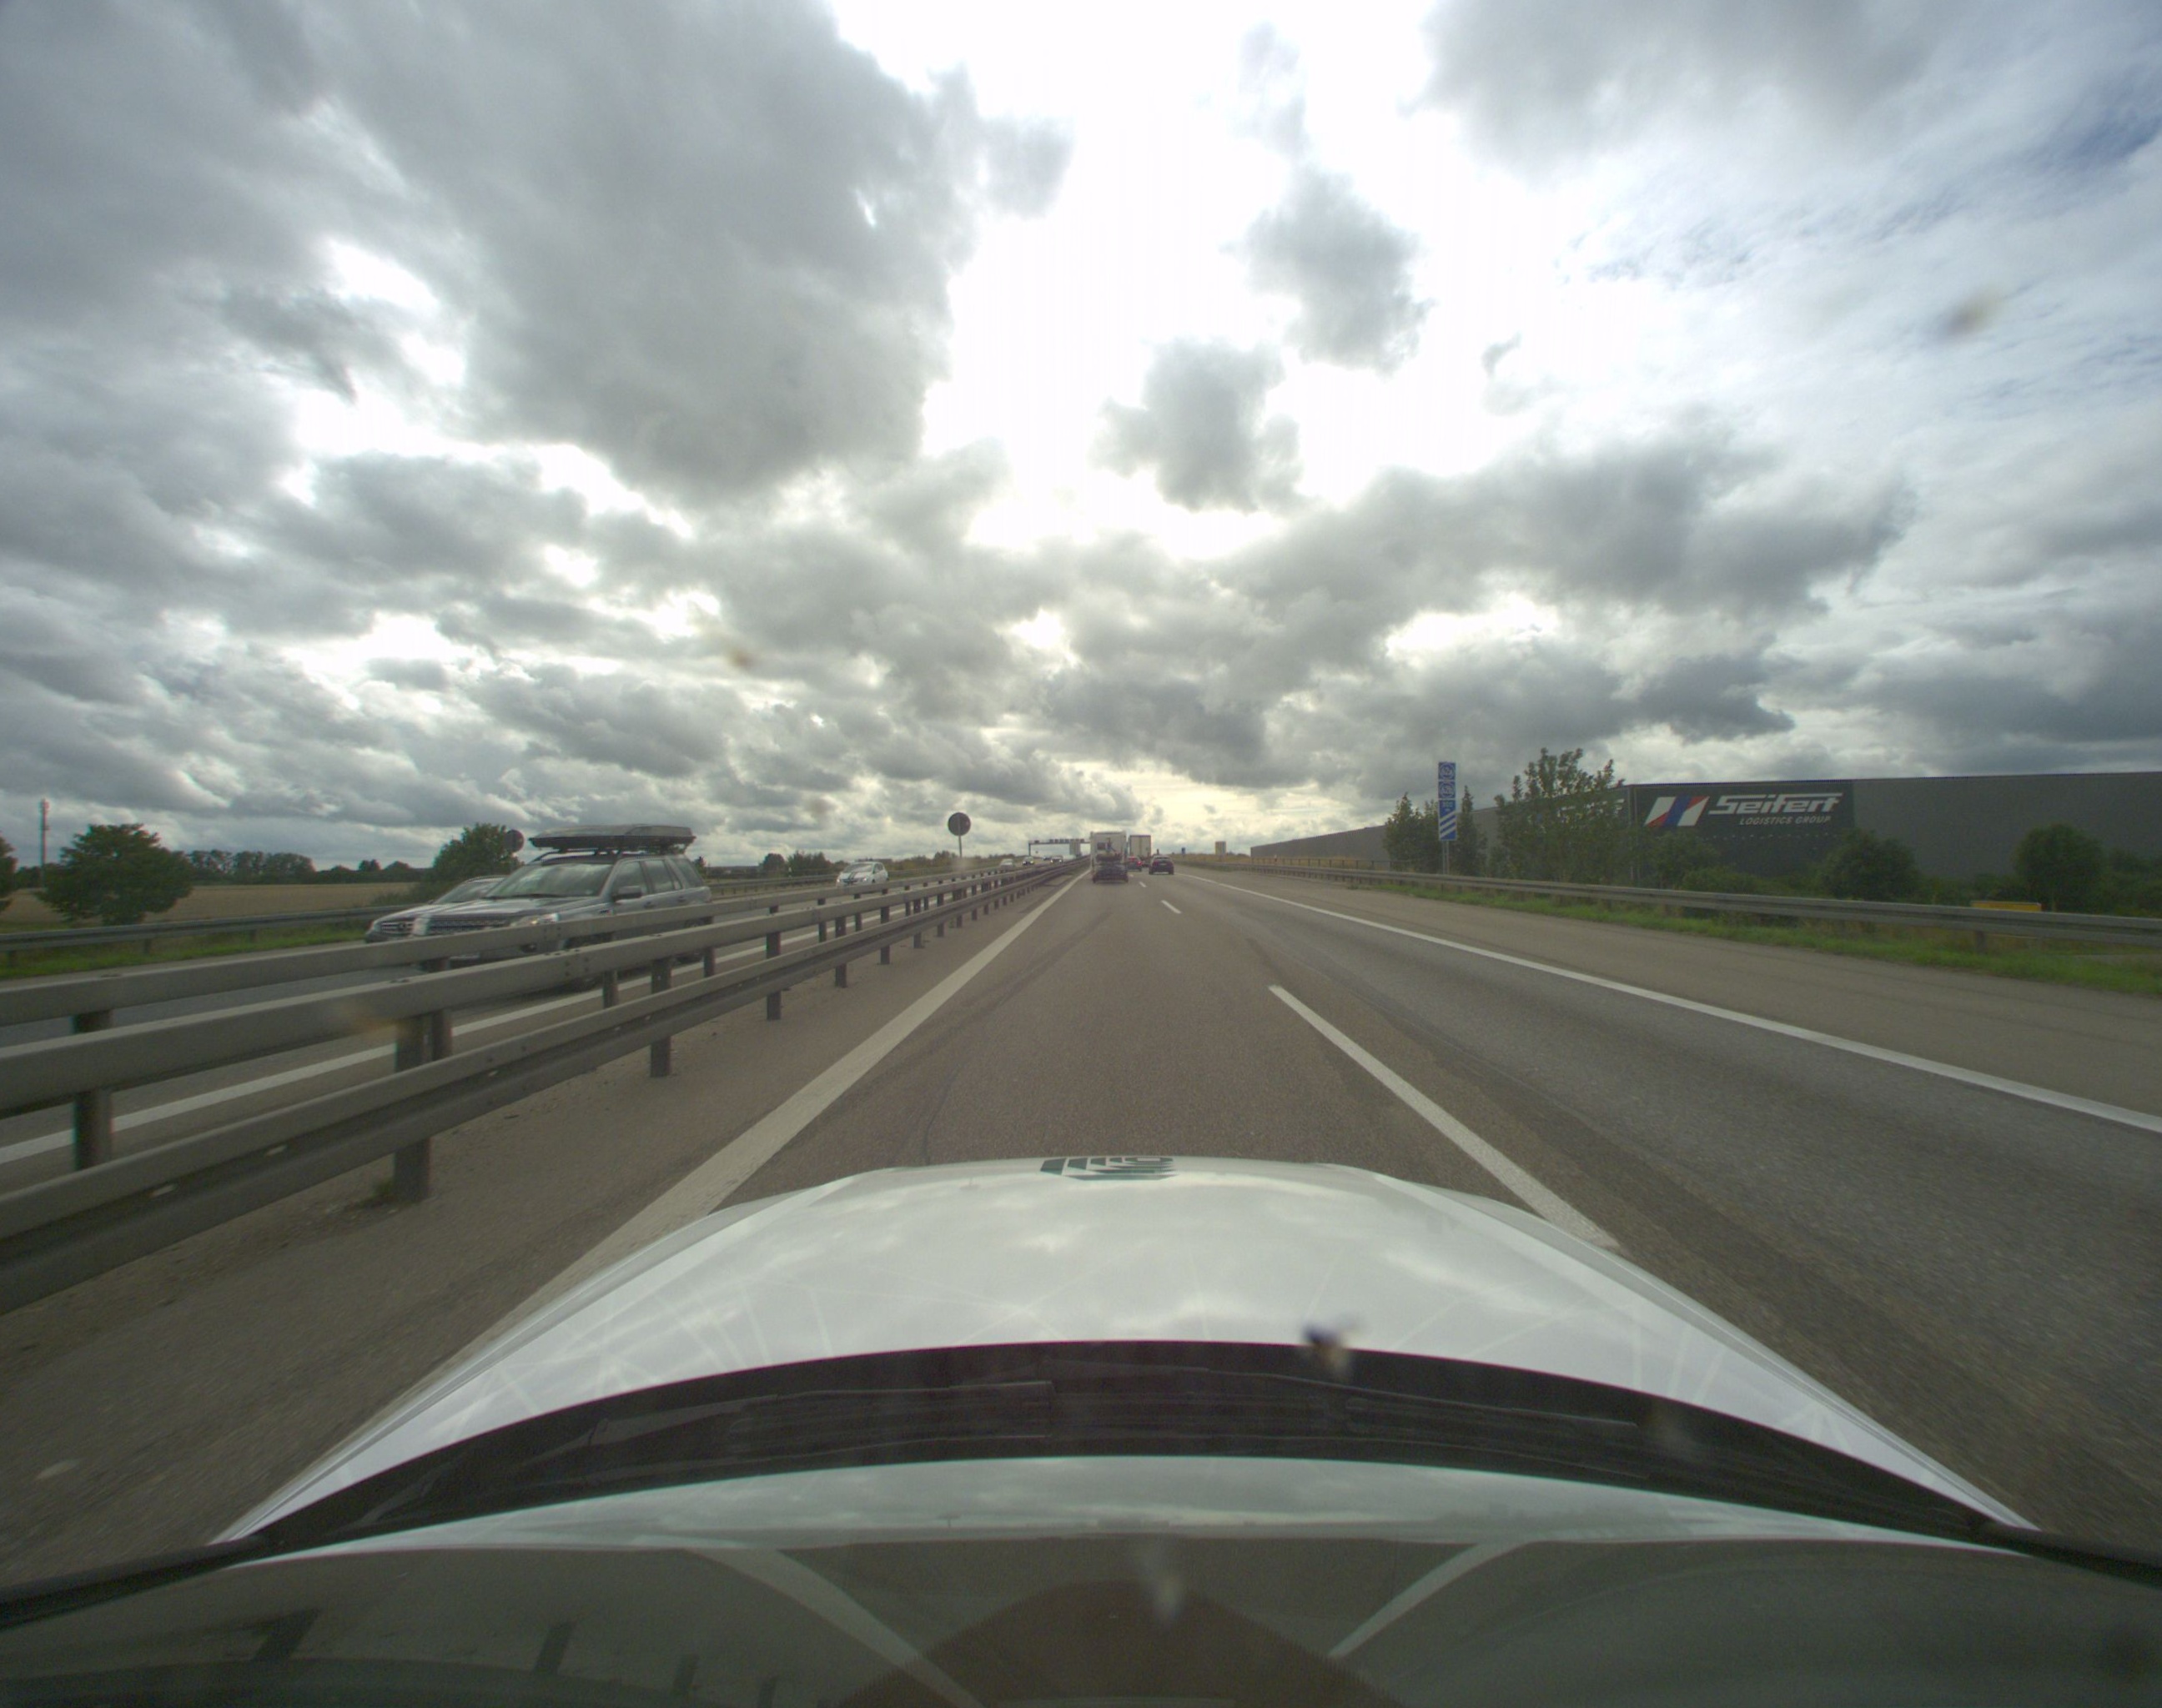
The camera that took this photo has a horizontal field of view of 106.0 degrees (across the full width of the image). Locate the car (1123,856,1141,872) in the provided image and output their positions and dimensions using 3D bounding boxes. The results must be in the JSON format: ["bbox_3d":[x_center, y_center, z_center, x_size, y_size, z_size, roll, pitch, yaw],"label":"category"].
[{"bbox_3d":[4.901,0.982,78.894,1.685,1.520,4.002,-1,-1,3],"label":"car"}]

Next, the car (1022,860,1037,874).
[{"bbox_3d":[-7.869,1.983,124.569,1.886,2.014,4.001,-1,-1,2],"label":"car"}]

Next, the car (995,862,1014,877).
[{"bbox_3d":[-9.131,1.860,97.898,1.745,1.786,4.001,-1,-1,2],"label":"car"}]

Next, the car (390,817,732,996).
[{"bbox_3d":[-6.861,0.594,11.475,1.987,2.013,4.383,-1,0,0],"label":"car"}]

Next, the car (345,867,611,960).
[{"bbox_3d":[-11.451,1.037,15.966,1.750,1.468,4.560,-1,0,1],"label":"car"}]

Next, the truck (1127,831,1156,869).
[{"bbox_3d":[7.570,-0.438,103.259,3.234,4.525,7.068,-1,-1,2],"label":"truck"}]

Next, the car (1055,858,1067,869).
[{"bbox_3d":[-3.384,1.615,137.377,1.707,1.899,4.001,-1,-1,2],"label":"car"}]

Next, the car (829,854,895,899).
[{"bbox_3d":[-10.500,1.085,39.366,1.987,2.014,4.382,-1,-1,0],"label":"car"}]

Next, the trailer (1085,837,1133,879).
[{"bbox_3d":[1.574,0.252,43.962,2.328,2.136,4.004,-2,-1,4],"label":"trailer"}]

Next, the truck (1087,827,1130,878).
[{"bbox_3d":[1.749,-0.011,50.972,2.472,2.950,5.817,-1,-1,2],"label":"truck"}]

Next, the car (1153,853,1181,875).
[{"bbox_3d":[6.699,0.783,63.673,1.876,1.620,4.001,-1,-1,1],"label":"car"}]
